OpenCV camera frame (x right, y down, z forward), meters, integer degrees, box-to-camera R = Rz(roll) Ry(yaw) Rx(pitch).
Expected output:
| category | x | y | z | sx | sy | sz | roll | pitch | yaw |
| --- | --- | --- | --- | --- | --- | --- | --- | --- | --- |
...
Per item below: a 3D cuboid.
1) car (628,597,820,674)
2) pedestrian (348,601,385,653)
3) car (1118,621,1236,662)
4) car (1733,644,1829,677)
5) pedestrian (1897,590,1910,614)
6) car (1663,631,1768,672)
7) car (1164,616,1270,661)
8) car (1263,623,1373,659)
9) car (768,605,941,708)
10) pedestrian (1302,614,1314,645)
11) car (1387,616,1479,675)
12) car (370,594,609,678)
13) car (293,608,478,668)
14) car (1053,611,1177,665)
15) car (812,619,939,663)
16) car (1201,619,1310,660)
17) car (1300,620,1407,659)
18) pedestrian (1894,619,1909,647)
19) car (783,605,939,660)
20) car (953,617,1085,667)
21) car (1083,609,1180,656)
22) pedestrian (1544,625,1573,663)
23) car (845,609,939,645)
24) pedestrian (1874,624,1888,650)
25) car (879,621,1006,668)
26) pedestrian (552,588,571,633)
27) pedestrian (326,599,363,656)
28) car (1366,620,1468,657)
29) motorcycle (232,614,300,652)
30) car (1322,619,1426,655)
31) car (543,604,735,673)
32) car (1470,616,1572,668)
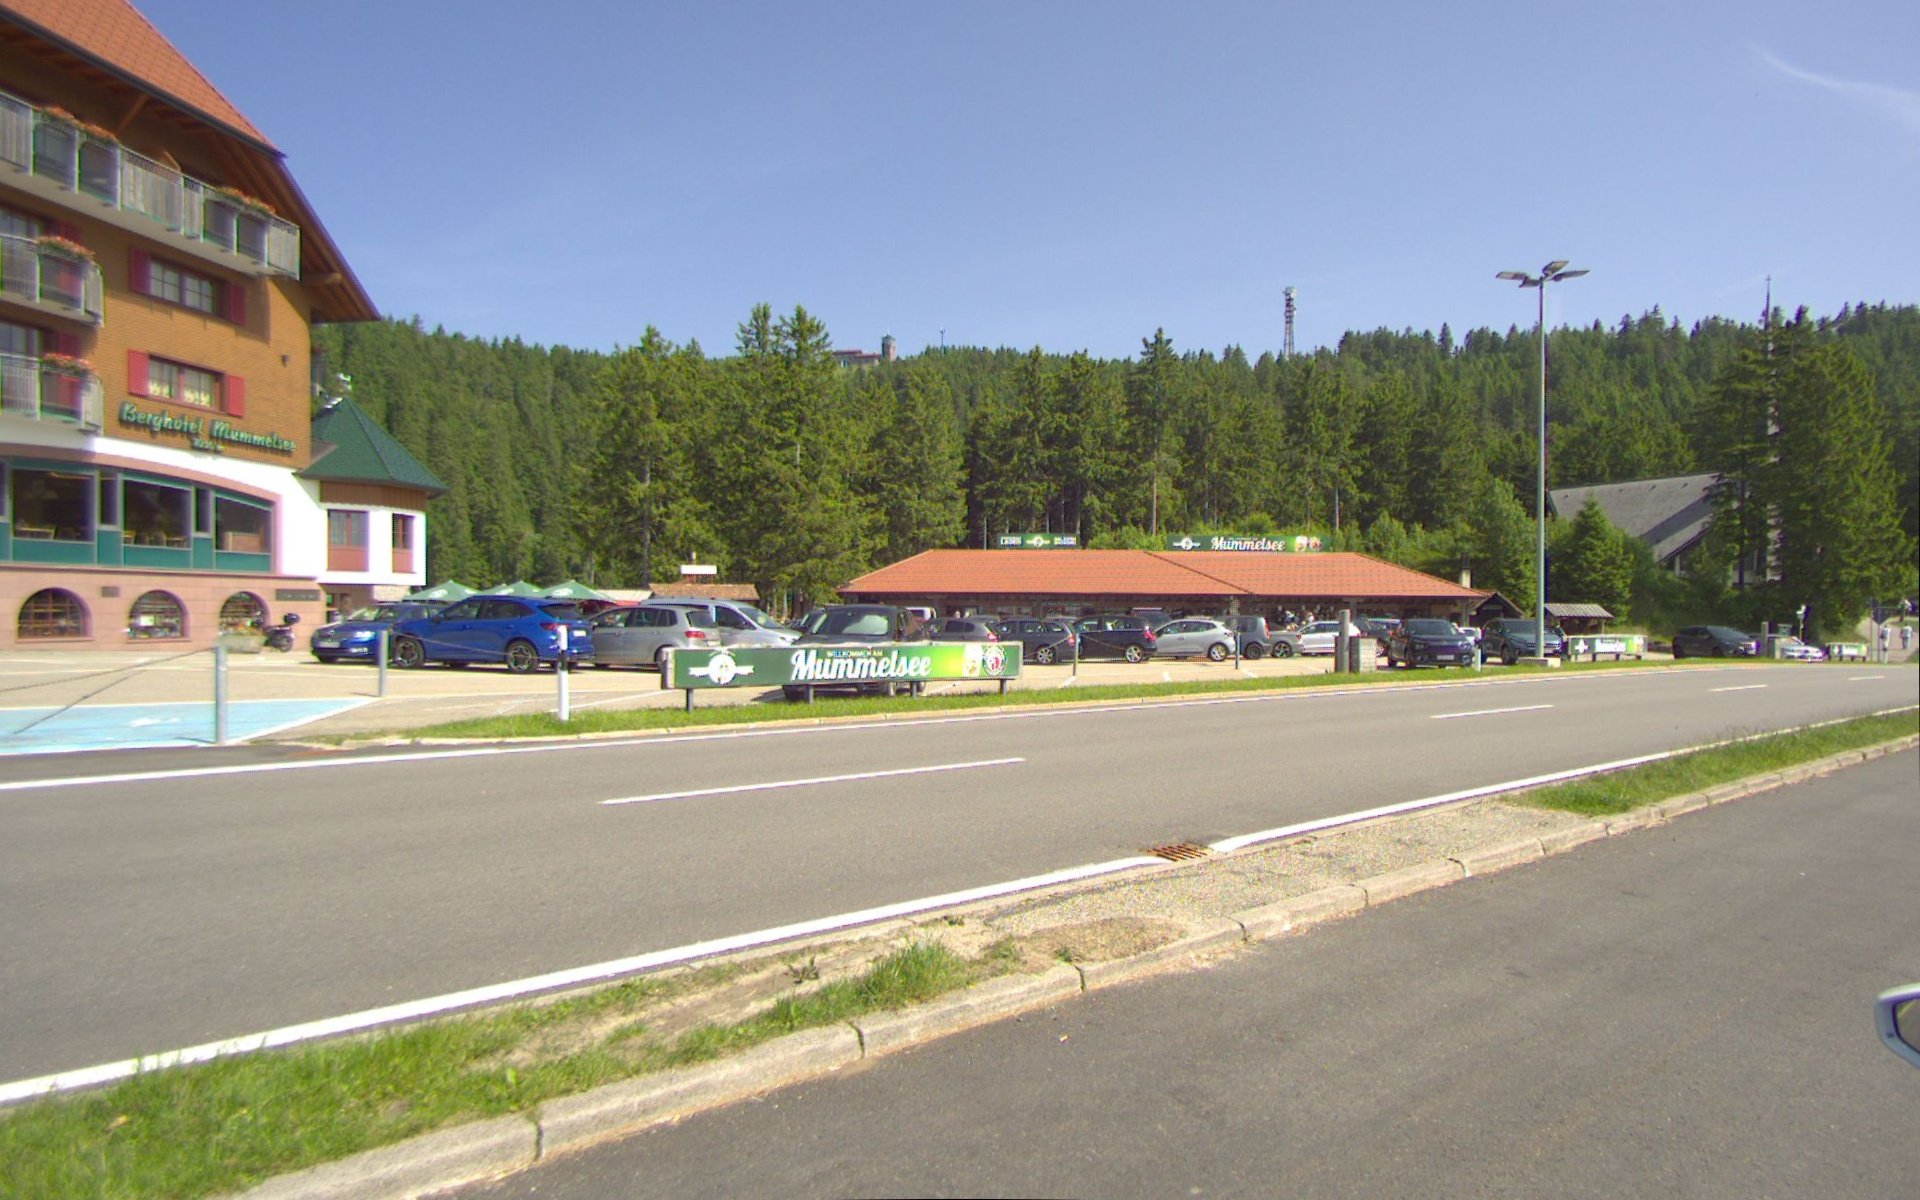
| category | x | y | z | sx | sy | sz | roll | pitch | yaw |
| --- | --- | --- | --- | --- | --- | --- | --- | --- | --- |
| car | -6.038 | 0.881 | 25.883 | 4.438 | 1.888 | 1.836 | 0 | -1 | 11 |
| pedestrian | -17.485 | 0.797 | 29.595 | 0.613 | 1.509 | 0.703 | 0 | 0 | 17 |
| car | 7.541 | 1.435 | 35.201 | 3.919 | 1.389 | 1.813 | 0 | -1 | 9 |
| car | 39.535 | 2.880 | 48.478 | 1.708 | 1.460 | 3.973 | 0 | -1 | 7 |
| pedestrian | 81.667 | 0.185 | 86.948 | 0.848 | 2.040 | 0.807 | 0 | -1 | -45 |
| car | 34.058 | 2.293 | 45.447 | 1.753 | 1.655 | 4.213 | 2 | -1 | 4 |
| car | 9.483 | 1.392 | 37.286 | 3.657 | 1.609 | 1.736 | 0 | -1 | 9 |
| car | 14.487 | 1.637 | 40.834 | 3.919 | 1.439 | 1.909 | 0 | -1 | 9 |
| car | -1.668 | 0.886 | 17.401 | 1.771 | 1.561 | 4.195 | 0 | -1 | 12 |
| pedestrian | 21.326 | 1.801 | 61.504 | 0.517 | 1.898 | 0.547 | 2 | 0 | 7 |
| car | 13.867 | 1.276 | 29.640 | 1.747 | 1.572 | 4.002 | 0 | -1 | 15 |
| car | -10.362 | 0.765 | 22.282 | 4.453 | 1.686 | 1.941 | 1 | 0 | 8 |
| car | -13.696 | 0.859 | 24.232 | 1.679 | 1.314 | 4.003 | 0 | -1 | 10 |
| car | 5.142 | 1.218 | 33.180 | 3.919 | 1.726 | 1.827 | 0 | -1 | 14 |
| car | -2.773 | 1.351 | 33.643 | 3.919 | 1.437 | 1.936 | 0 | -1 | 6 |
| car | 11.467 | 1.515 | 39.213 | 3.919 | 1.565 | 1.900 | 0 | -1 | 10 |
| car | 16.698 | 1.661 | 42.824 | 3.919 | 1.595 | 2.001 | 0 | -1 | 9 |
| pedestrian | 62.360 | 2.190 | 66.539 | 0.638 | 1.823 | 0.646 | 1 | 0 | -43 |
| car | -2.671 | 0.878 | 27.613 | 3.919 | 1.449 | 1.915 | 0 | -1 | 8 |
| car | 1.881 | 1.289 | 31.631 | 3.996 | 1.506 | 1.717 | 0 | -1 | 9 |
| car | 7.136 | 1.357 | 42.097 | 3.919 | 1.929 | 2.001 | 0 | -1 | 6 |
| pedestrian | 28.148 | 2.051 | 47.258 | 0.951 | 1.757 | 0.890 | 0 | -1 | -37 |
| car | -2.921 | 1.167 | 43.638 | 3.802 | 1.550 | 1.911 | 0 | -1 | 6 |
| pedestrian | 61.424 | 2.476 | 66.976 | 0.638 | 1.688 | 0.646 | 4 | -2 | -42 |
| car | -0.474 | 1.304 | 29.708 | 3.565 | 1.339 | 1.589 | 0 | -1 | 7 |
| pedestrian | -20.845 | 0.543 | 52.610 | 0.804 | 2.314 | 0.728 | -2 | 0 | -19 |
| pedestrian | -18.205 | 0.800 | 29.738 | 0.613 | 1.654 | 0.703 | 0 | 0 | 17 |
| car | 21.243 | 1.783 | 46.806 | 3.949 | 1.694 | 1.778 | 0 | -2 | 8 |
| motorcycle | -21.604 | 1.028 | 31.278 | 1.755 | 0.999 | 0.480 | 4 | 6 | 1 |
| car | 18.455 | 1.632 | 44.909 | 3.919 | 1.595 | 2.001 | 0 | -1 | 9 |
| car | -7.657 | 0.907 | 24.164 | 3.919 | 1.566 | 2.001 | 0 | -1 | 10 |
| car | 18.875 | 1.375 | 33.983 | 1.705 | 1.588 | 4.062 | 1 | 0 | 10 |
